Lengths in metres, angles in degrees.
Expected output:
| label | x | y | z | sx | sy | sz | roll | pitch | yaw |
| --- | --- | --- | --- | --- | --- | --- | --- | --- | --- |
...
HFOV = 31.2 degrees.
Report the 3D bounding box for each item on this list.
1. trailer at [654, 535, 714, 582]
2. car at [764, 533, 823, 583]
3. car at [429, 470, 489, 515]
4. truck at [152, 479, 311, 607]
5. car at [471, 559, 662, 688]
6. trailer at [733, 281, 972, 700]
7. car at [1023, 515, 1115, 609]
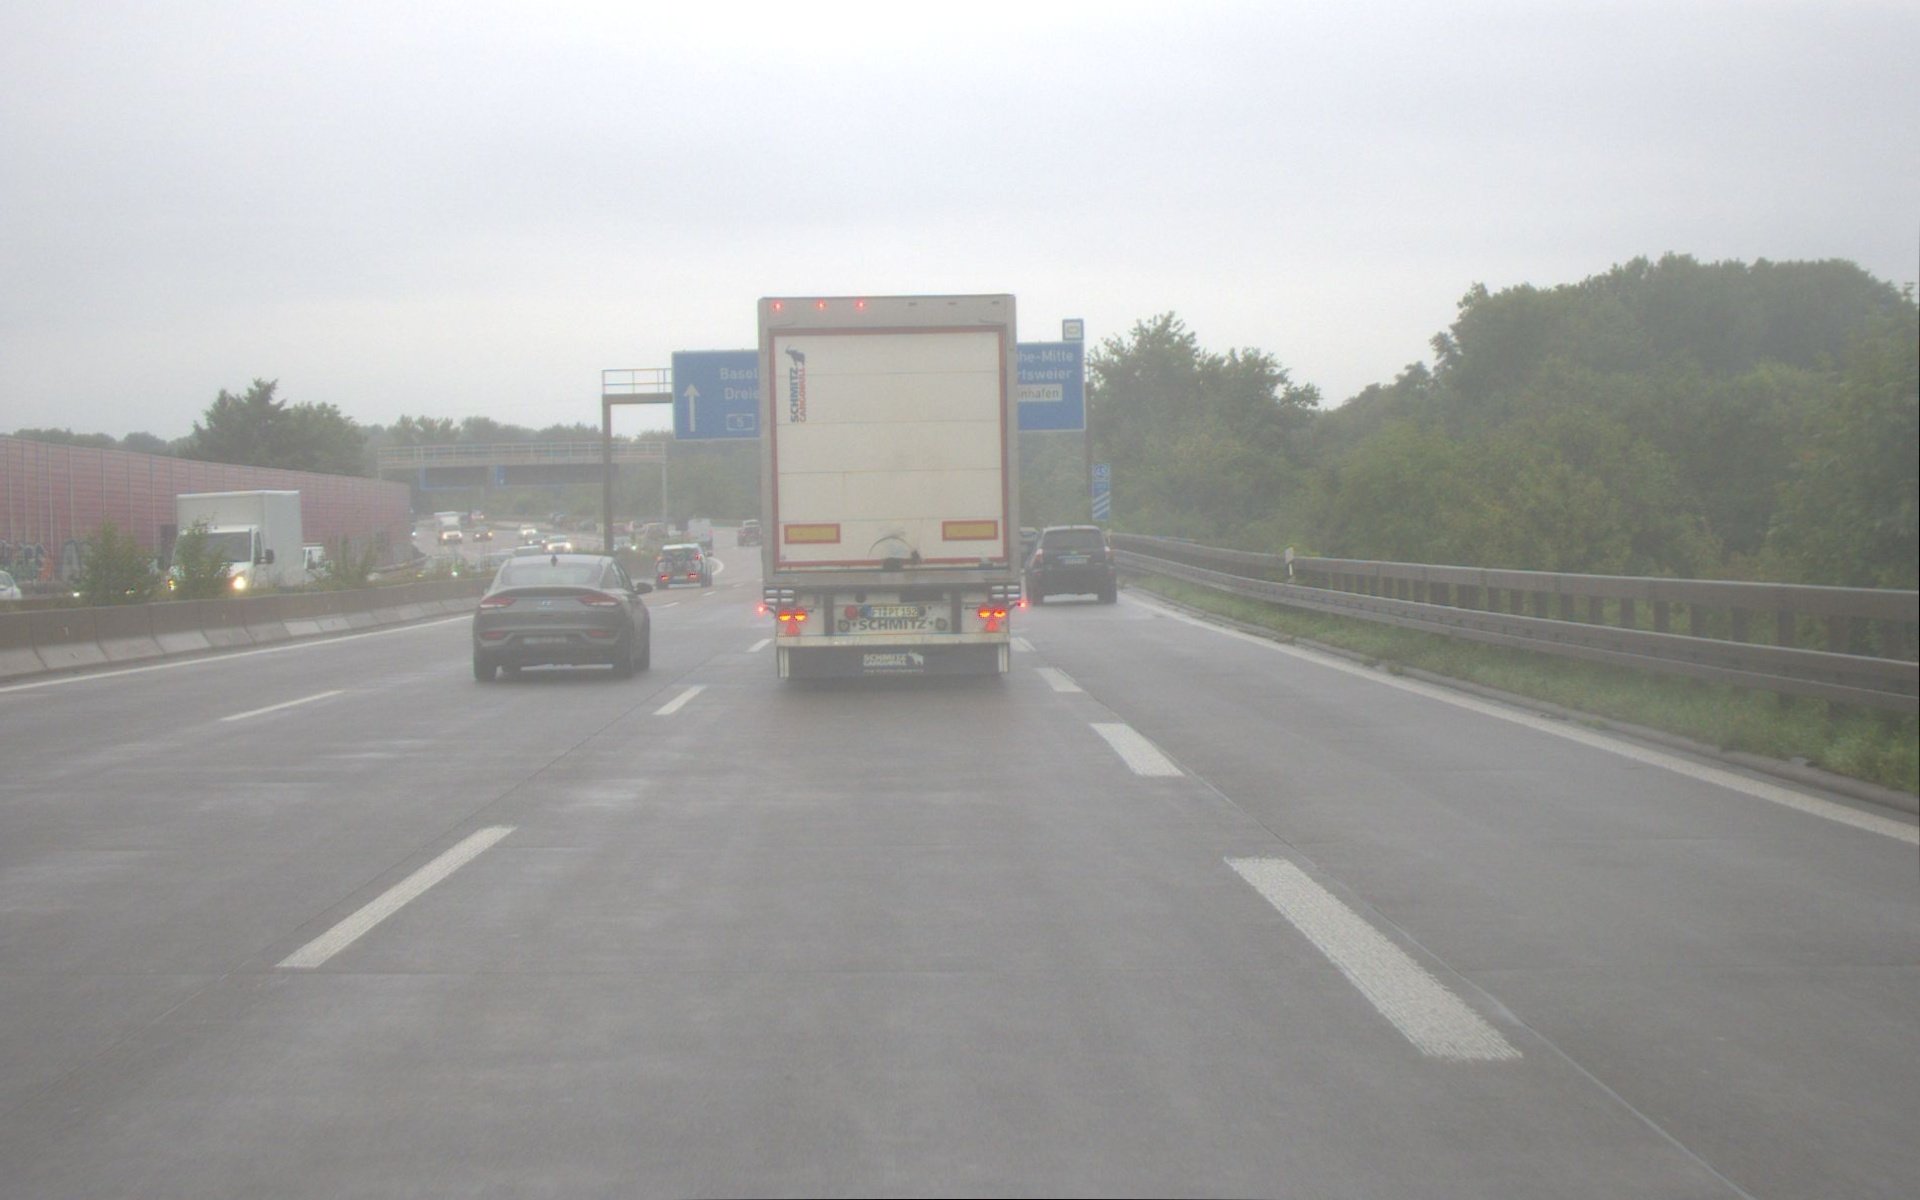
| label | x | y | z | sx | sy | sz | roll | pitch | yaw |
| --- | --- | --- | --- | --- | --- | --- | --- | --- | --- |
| trailer | -9.797 | -1.496 | 122.303 | 1.815 | 1.619 | 4.568 | 0 | 1 | 0 |
| car | -5.941 | -1.522 | 123.095 | 1.894 | 1.717 | 4.000 | 1 | 1 | 0 |
| car | -23.184 | -4.955 | 159.253 | 1.993 | 2.007 | 5.807 | 1 | 1 | -1 |
| truck | -16.922 | -1.326 | 80.250 | 2.266 | 2.819 | 7.280 | 1 | 1 | -1 |
| car | -4.542 | 0.228 | 40.247 | 1.725 | 1.398 | 4.829 | 0 | 1 | -1 |
| trailer | -1.115 | -1.217 | 41.468 | 2.342 | 4.143 | 14.828 | 0 | 1 | 0 |
| car | 2.329 | -0.833 | 74.304 | 1.897 | 1.943 | 4.000 | 1 | 1 | 1 |
